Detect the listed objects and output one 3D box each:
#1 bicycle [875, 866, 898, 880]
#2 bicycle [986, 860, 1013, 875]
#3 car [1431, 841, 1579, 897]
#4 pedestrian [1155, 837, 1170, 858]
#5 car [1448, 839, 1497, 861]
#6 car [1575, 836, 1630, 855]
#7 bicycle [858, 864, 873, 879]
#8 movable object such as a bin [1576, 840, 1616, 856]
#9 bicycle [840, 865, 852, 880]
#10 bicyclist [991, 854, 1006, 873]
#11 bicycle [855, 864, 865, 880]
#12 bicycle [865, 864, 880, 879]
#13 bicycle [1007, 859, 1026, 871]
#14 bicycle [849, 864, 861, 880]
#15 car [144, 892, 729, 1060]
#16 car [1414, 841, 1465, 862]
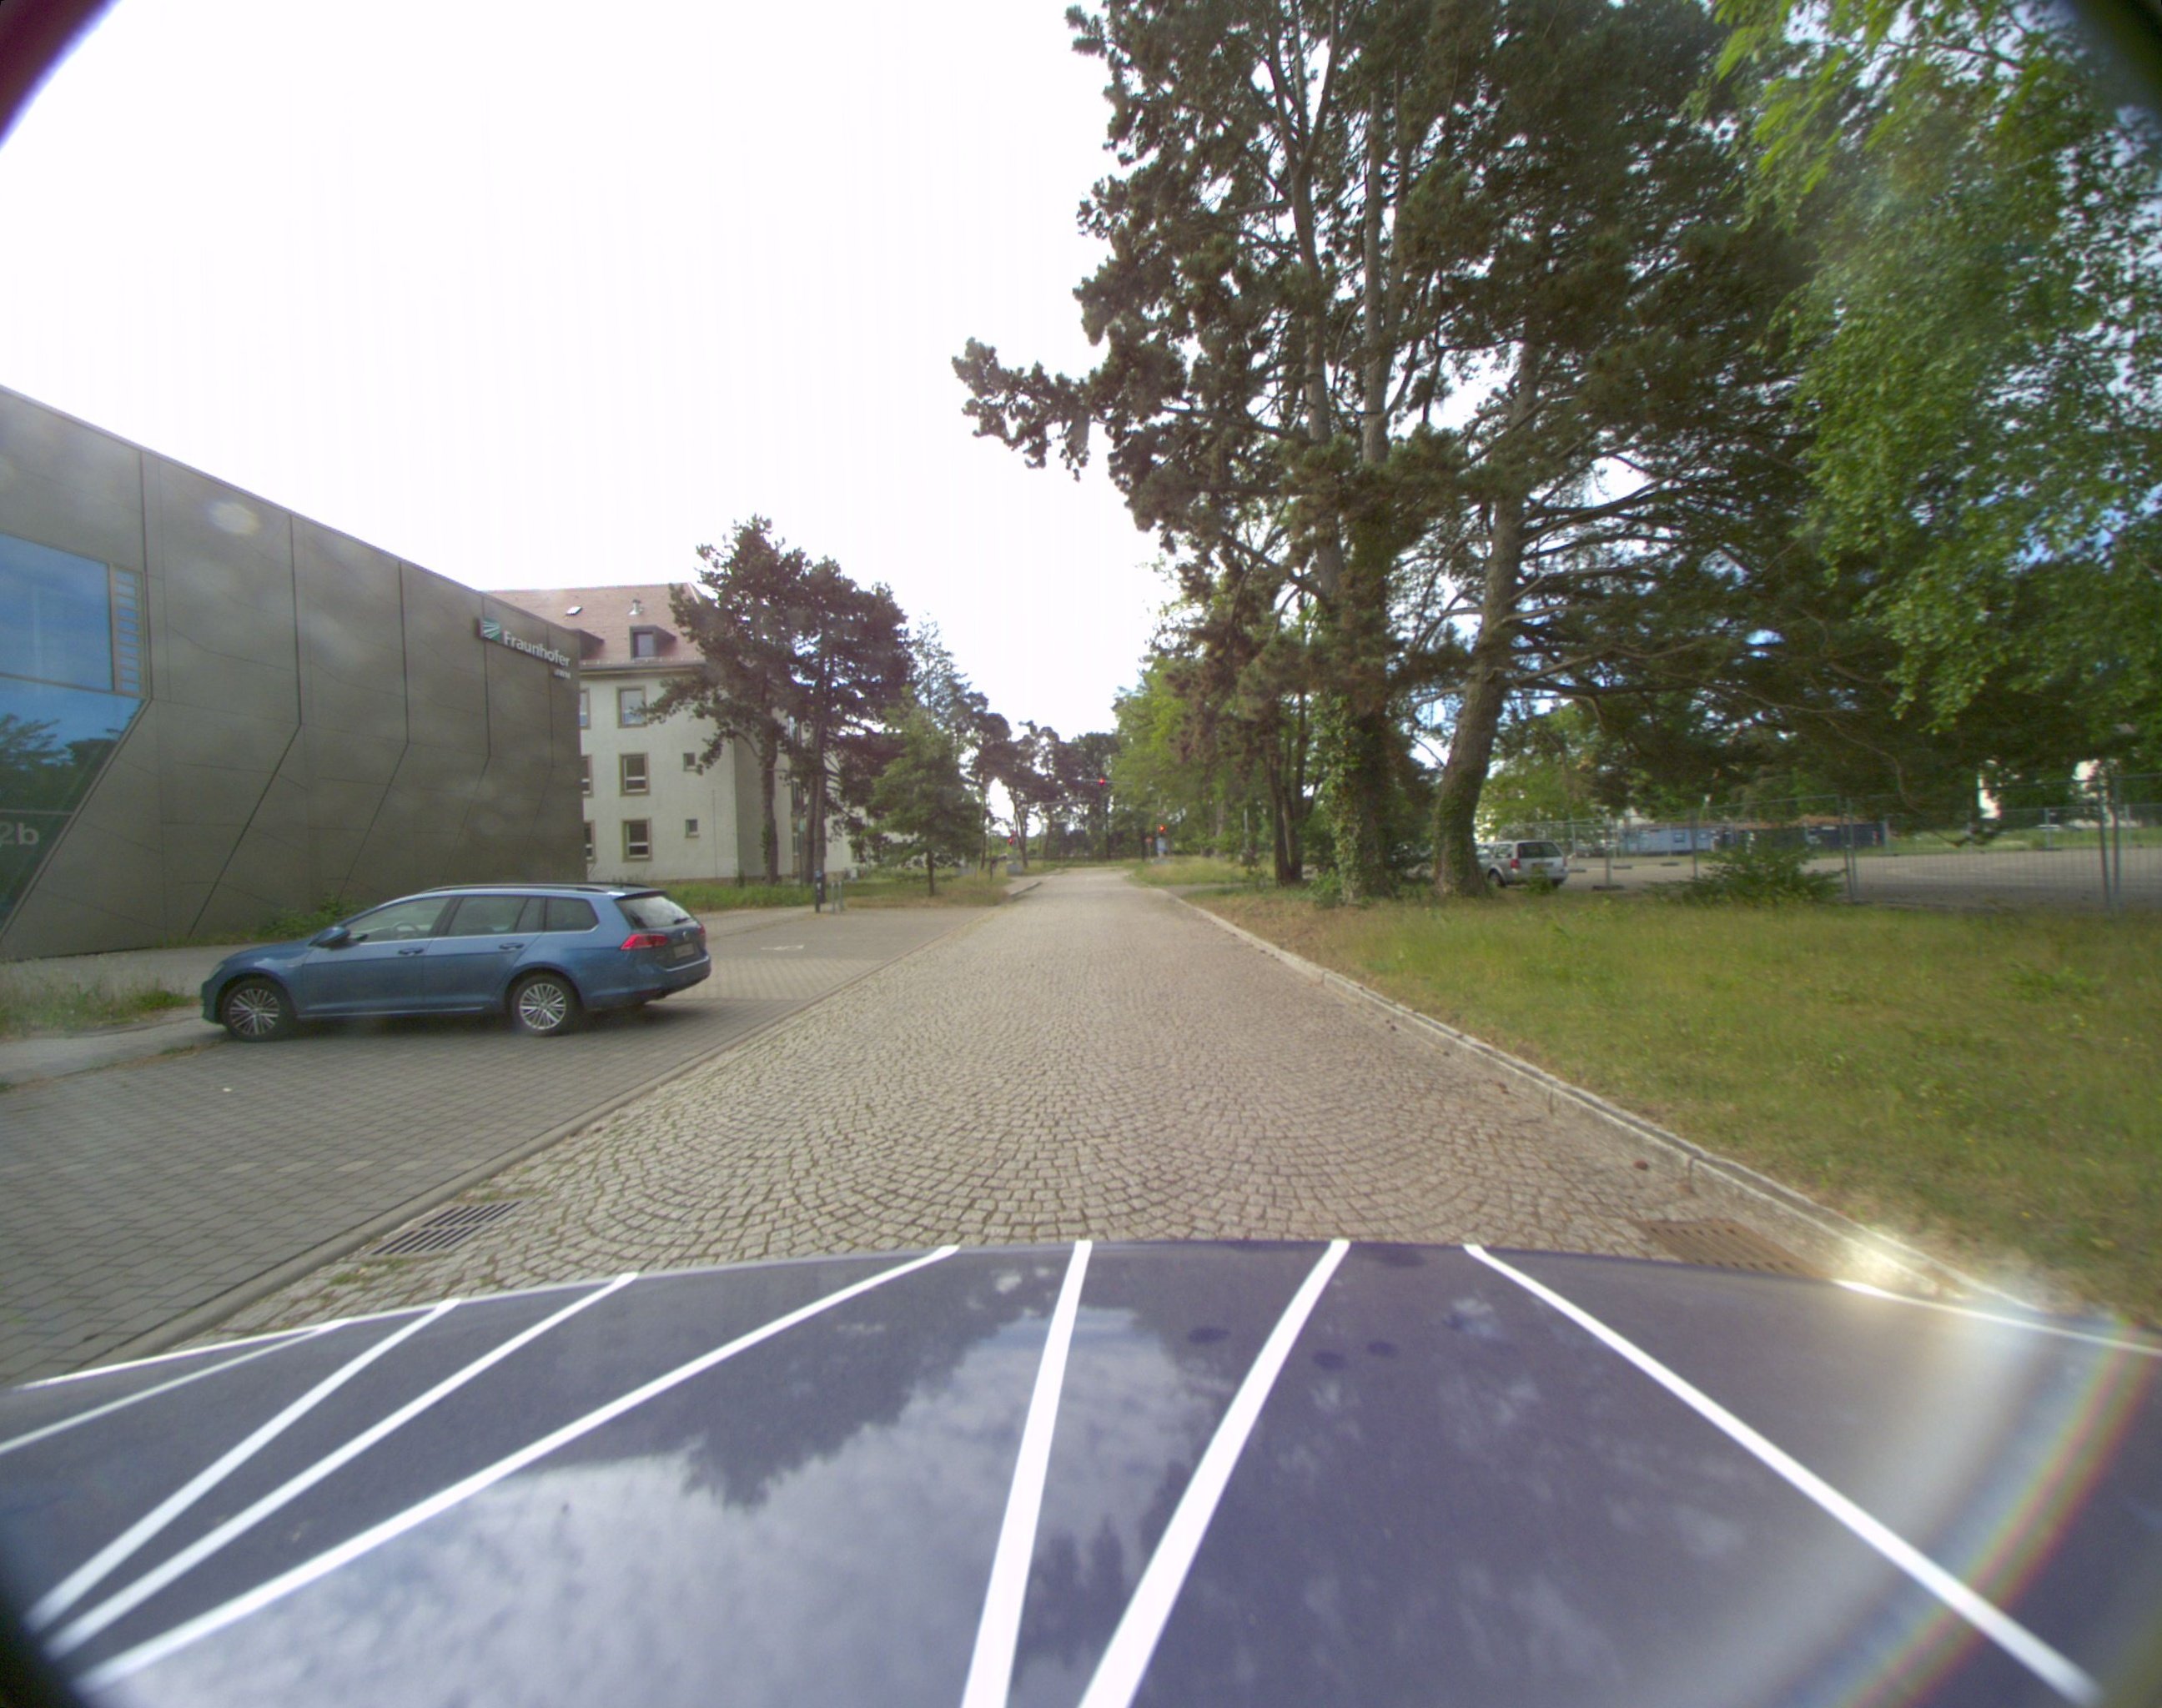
[{"bbox_3d":[-16.963,1.672,66.377,1.836,1.079,0.573,-2,2,4],"label":"bicycle"},{"bbox_3d":[-7.331,1.190,68.517,2.167,1.268,0.962,-2,0,-38],"label":"bicycle"},{"bbox_3d":[12.282,0.407,22.400,1.720,1.430,4.466,-2,0,-2],"label":"car"},{"bbox_3d":[6.005,-0.496,56.018,0.883,1.509,0.822,-2,0,15],"label":"pedestrian"},{"bbox_3d":[31.040,-0.313,60.377,1.736,1.512,4.115,-2,-2,1],"label":"car"},{"bbox_3d":[48.636,-0.757,71.039,1.840,1.564,4.585,-2,-2,-2],"label":"car"},{"bbox_3d":[-19.281,1.561,67.946,0.572,1.324,1.839,-2,0,8],"label":"bicycle"},{"bbox_3d":[31.995,-0.361,47.265,1.041,0.927,1.935,-1,0,-6],"label":"movable object such as a bin"},{"bbox_3d":[-20.975,1.648,67.918,0.572,1.324,1.837,-2,0,-4],"label":"bicycle"},{"bbox_3d":[-7.413,0.837,68.451,0.919,1.625,0.962,-3,0,-38],"label":"bicyclist"},{"bbox_3d":[-19.777,1.592,67.962,0.482,1.324,1.837,-2,0,-4],"label":"bicycle"},{"bbox_3d":[-18.653,1.548,68.057,0.572,1.324,1.839,-2,0,8],"label":"bicycle"},{"bbox_3d":[-6.292,1.054,74.094,1.837,1.079,0.572,-2,2,-1],"label":"bicycle"},{"bbox_3d":[-20.209,1.619,67.976,0.572,1.324,1.837,-2,0,-4],"label":"bicycle"},{"bbox_3d":[-6.436,1.184,8.046,4.534,1.435,1.823,0,0,-3],"label":"car"},{"bbox_3d":[28.293,-0.176,60.130,1.839,1.460,4.586,-2,-2,1],"label":"car"}]
